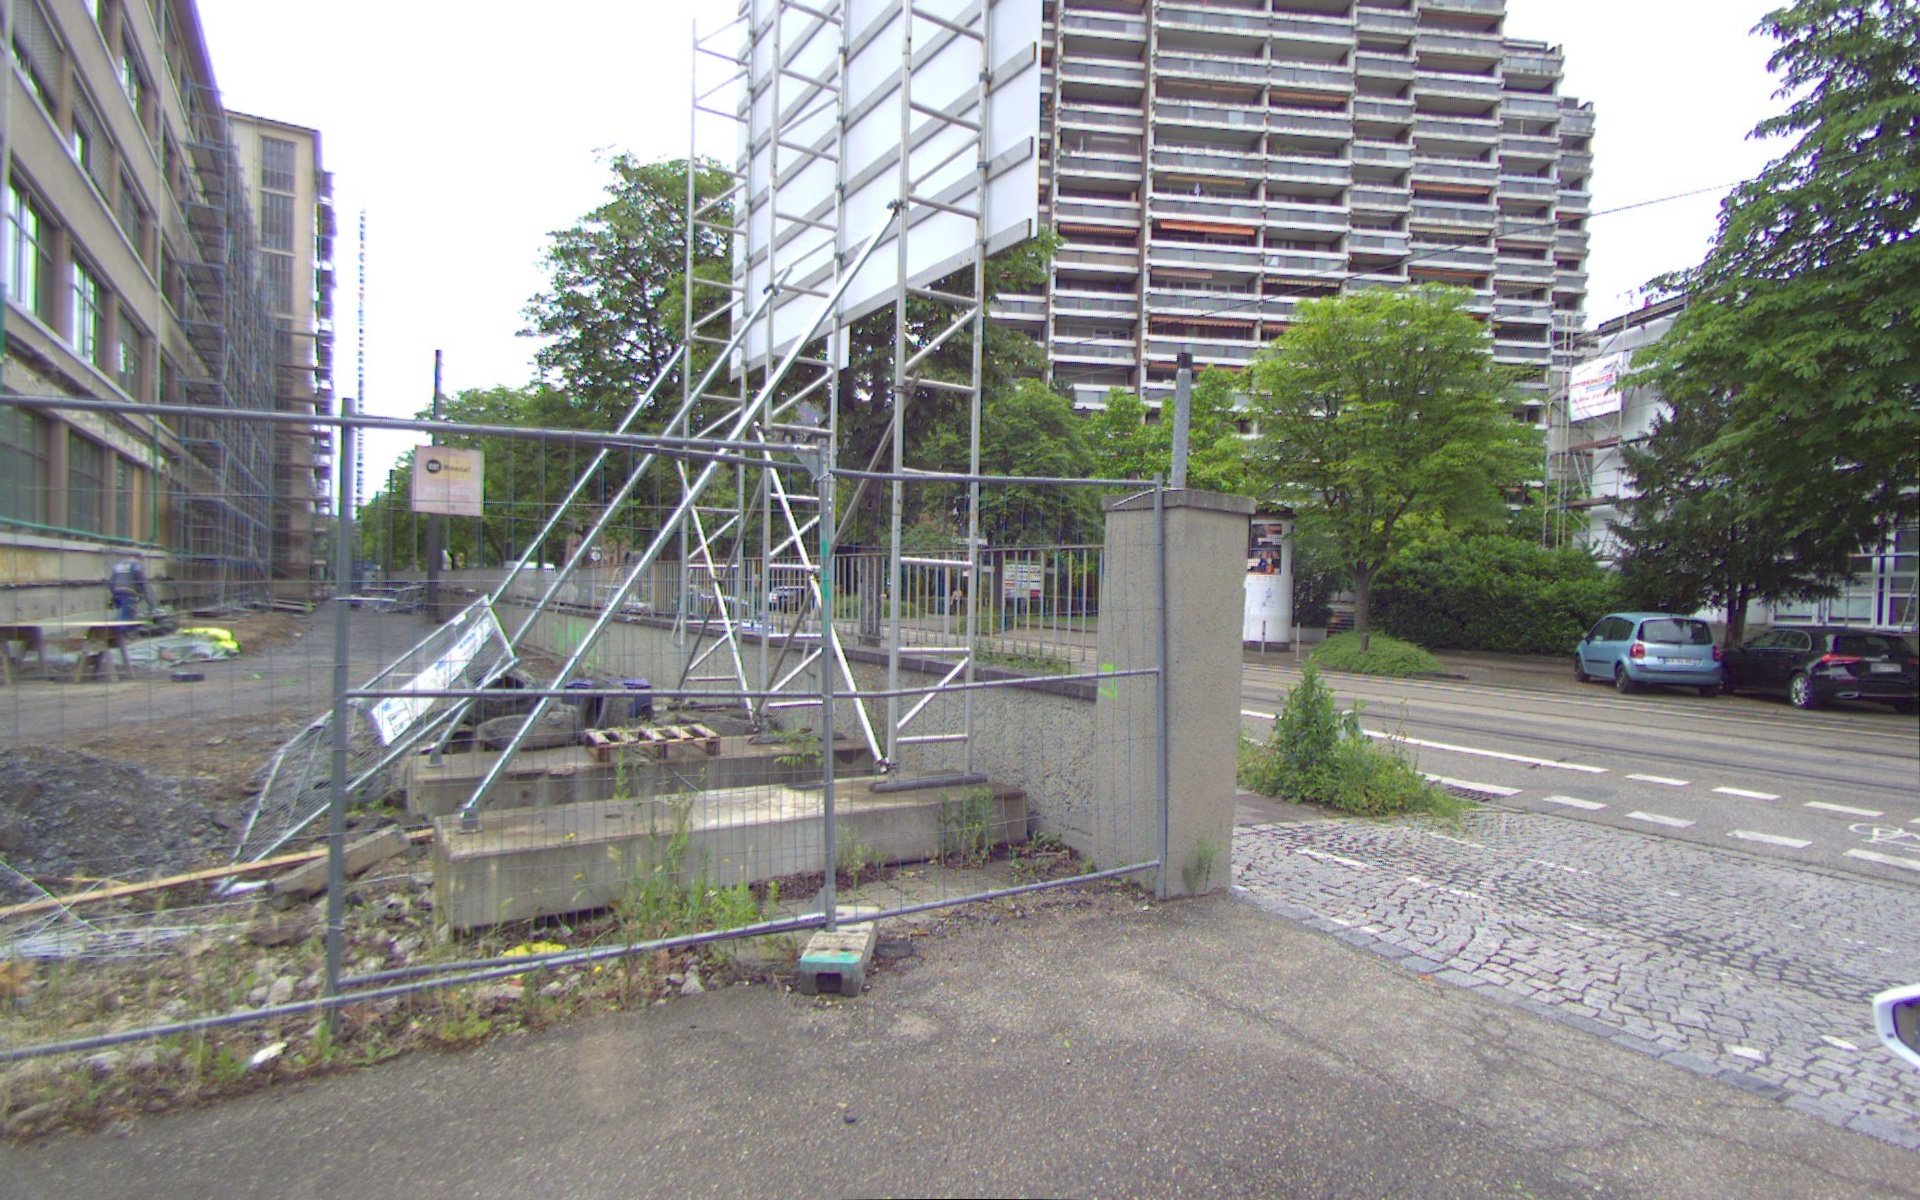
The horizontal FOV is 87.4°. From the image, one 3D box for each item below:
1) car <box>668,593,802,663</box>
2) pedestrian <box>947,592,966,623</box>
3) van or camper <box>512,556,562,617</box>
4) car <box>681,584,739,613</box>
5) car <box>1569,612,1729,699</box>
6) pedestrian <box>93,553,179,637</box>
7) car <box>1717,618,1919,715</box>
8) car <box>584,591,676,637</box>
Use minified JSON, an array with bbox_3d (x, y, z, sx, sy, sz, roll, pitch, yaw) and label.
[{"bbox_3d":[-5.311,0.595,23.375,1.813,1.437,3.965,2,0,-32],"label":"car"},{"bbox_3d":[-0.179,0.387,50.803,0.838,1.548,0.515,1,1,-44],"label":"pedestrian"},{"bbox_3d":[-20.453,-0.641,48.495,1.974,2.789,3.973,2,0,-26],"label":"van or camper"},{"bbox_3d":[-14.031,-0.098,56.194,1.805,1.510,4.215,2,0,-34],"label":"car"},{"bbox_3d":[14.090,1.068,20.750,1.586,1.557,3.339,2,0,14],"label":"car"},{"bbox_3d":[-14.884,-0.087,18.183,0.970,1.457,0.925,2,0,-26],"label":"pedestrian"},{"bbox_3d":[15.521,1.127,18.239,1.586,1.531,3.339,2,0,14],"label":"car"},{"bbox_3d":[-10.870,0.434,32.947,1.978,1.327,3.965,2,1,-32],"label":"car"}]
